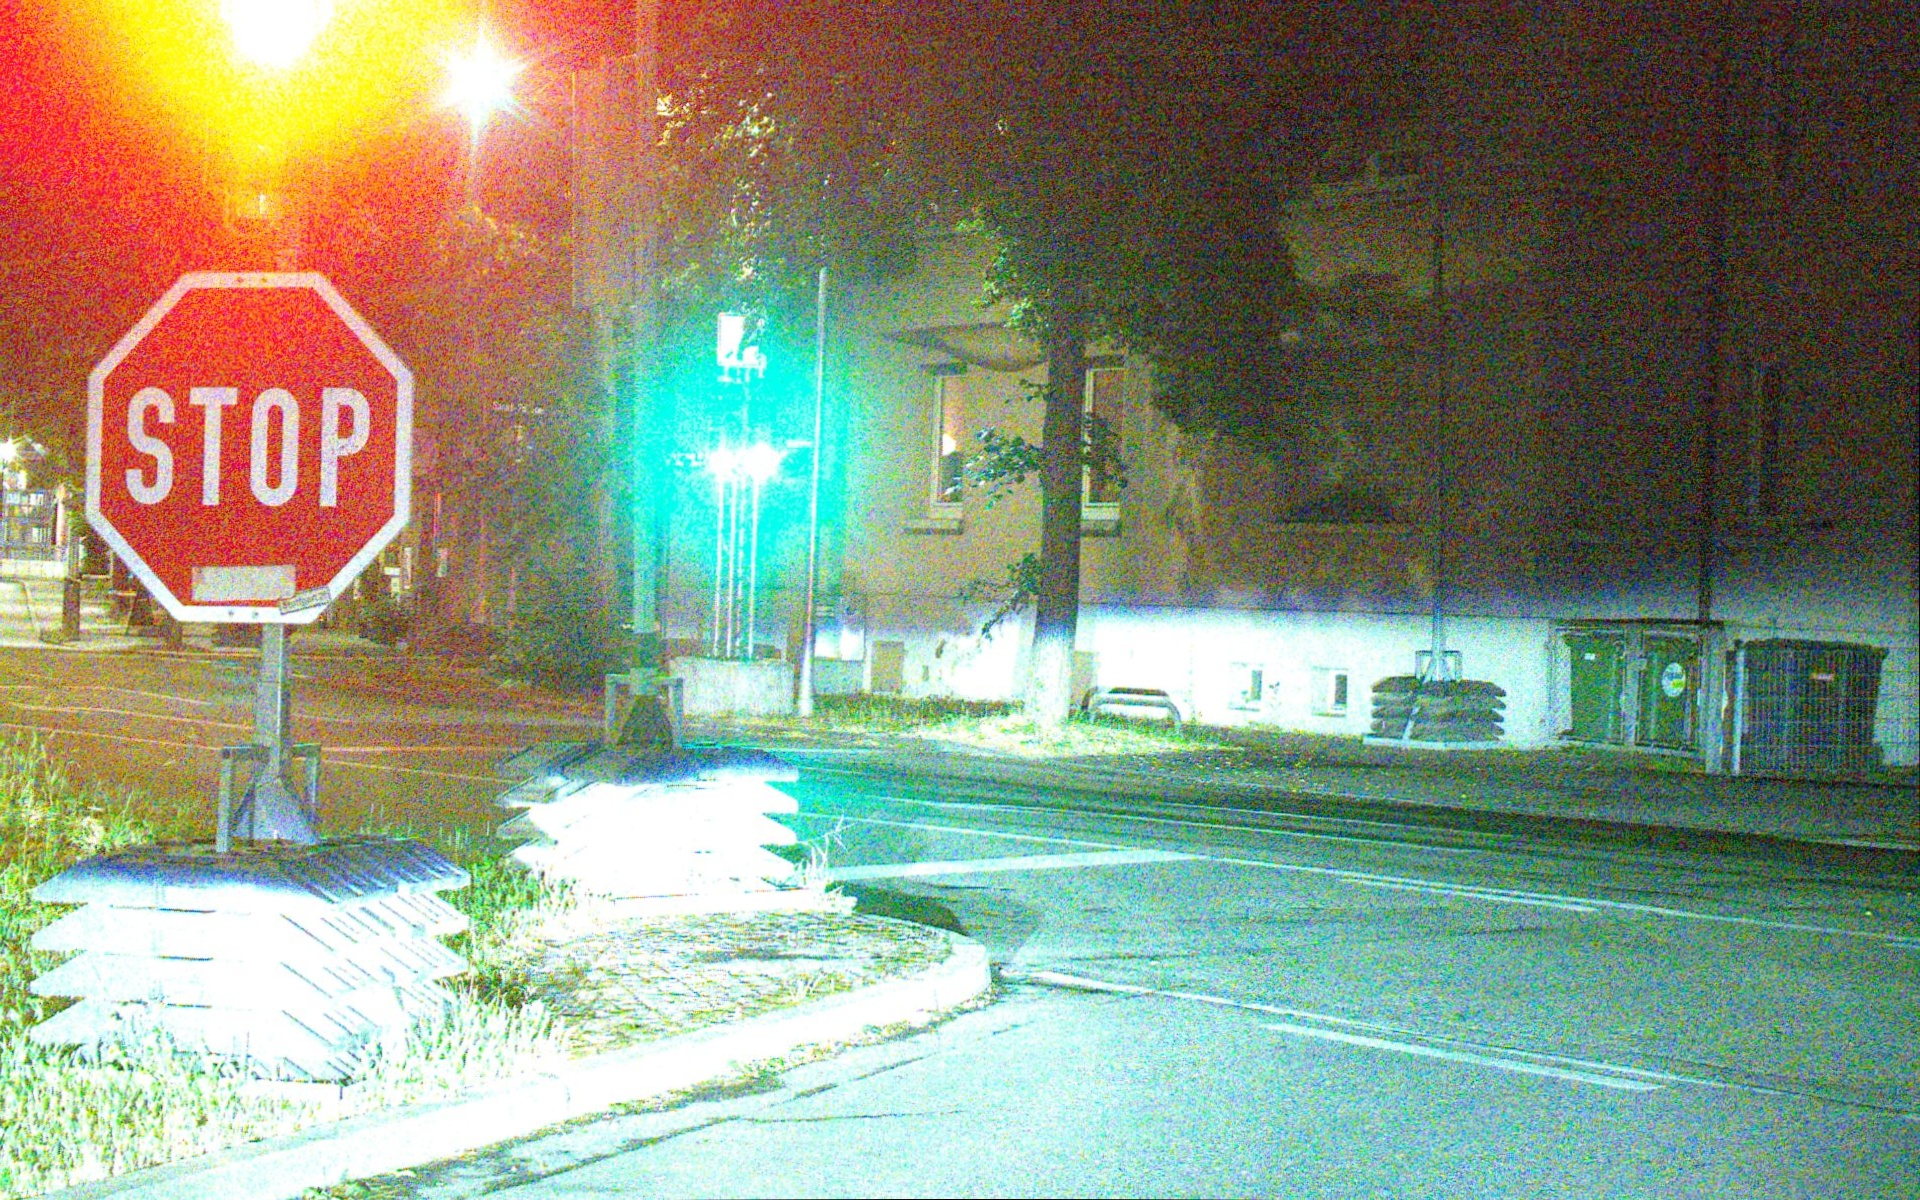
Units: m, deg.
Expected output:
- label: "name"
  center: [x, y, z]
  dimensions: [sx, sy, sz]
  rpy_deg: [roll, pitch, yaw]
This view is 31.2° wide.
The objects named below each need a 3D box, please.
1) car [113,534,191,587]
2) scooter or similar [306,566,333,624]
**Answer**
- label: "car"
  center: [-24.558, -1.212, 104.444]
  dimensions: [1.733, 1.454, 4.729]
  rpy_deg: [3, 0, -19]
- label: "scooter or similar"
  center: [-12.826, -0.105, 68.854]
  dimensions: [0.421, 1.126, 1.494]
  rpy_deg: [2, 1, -8]
